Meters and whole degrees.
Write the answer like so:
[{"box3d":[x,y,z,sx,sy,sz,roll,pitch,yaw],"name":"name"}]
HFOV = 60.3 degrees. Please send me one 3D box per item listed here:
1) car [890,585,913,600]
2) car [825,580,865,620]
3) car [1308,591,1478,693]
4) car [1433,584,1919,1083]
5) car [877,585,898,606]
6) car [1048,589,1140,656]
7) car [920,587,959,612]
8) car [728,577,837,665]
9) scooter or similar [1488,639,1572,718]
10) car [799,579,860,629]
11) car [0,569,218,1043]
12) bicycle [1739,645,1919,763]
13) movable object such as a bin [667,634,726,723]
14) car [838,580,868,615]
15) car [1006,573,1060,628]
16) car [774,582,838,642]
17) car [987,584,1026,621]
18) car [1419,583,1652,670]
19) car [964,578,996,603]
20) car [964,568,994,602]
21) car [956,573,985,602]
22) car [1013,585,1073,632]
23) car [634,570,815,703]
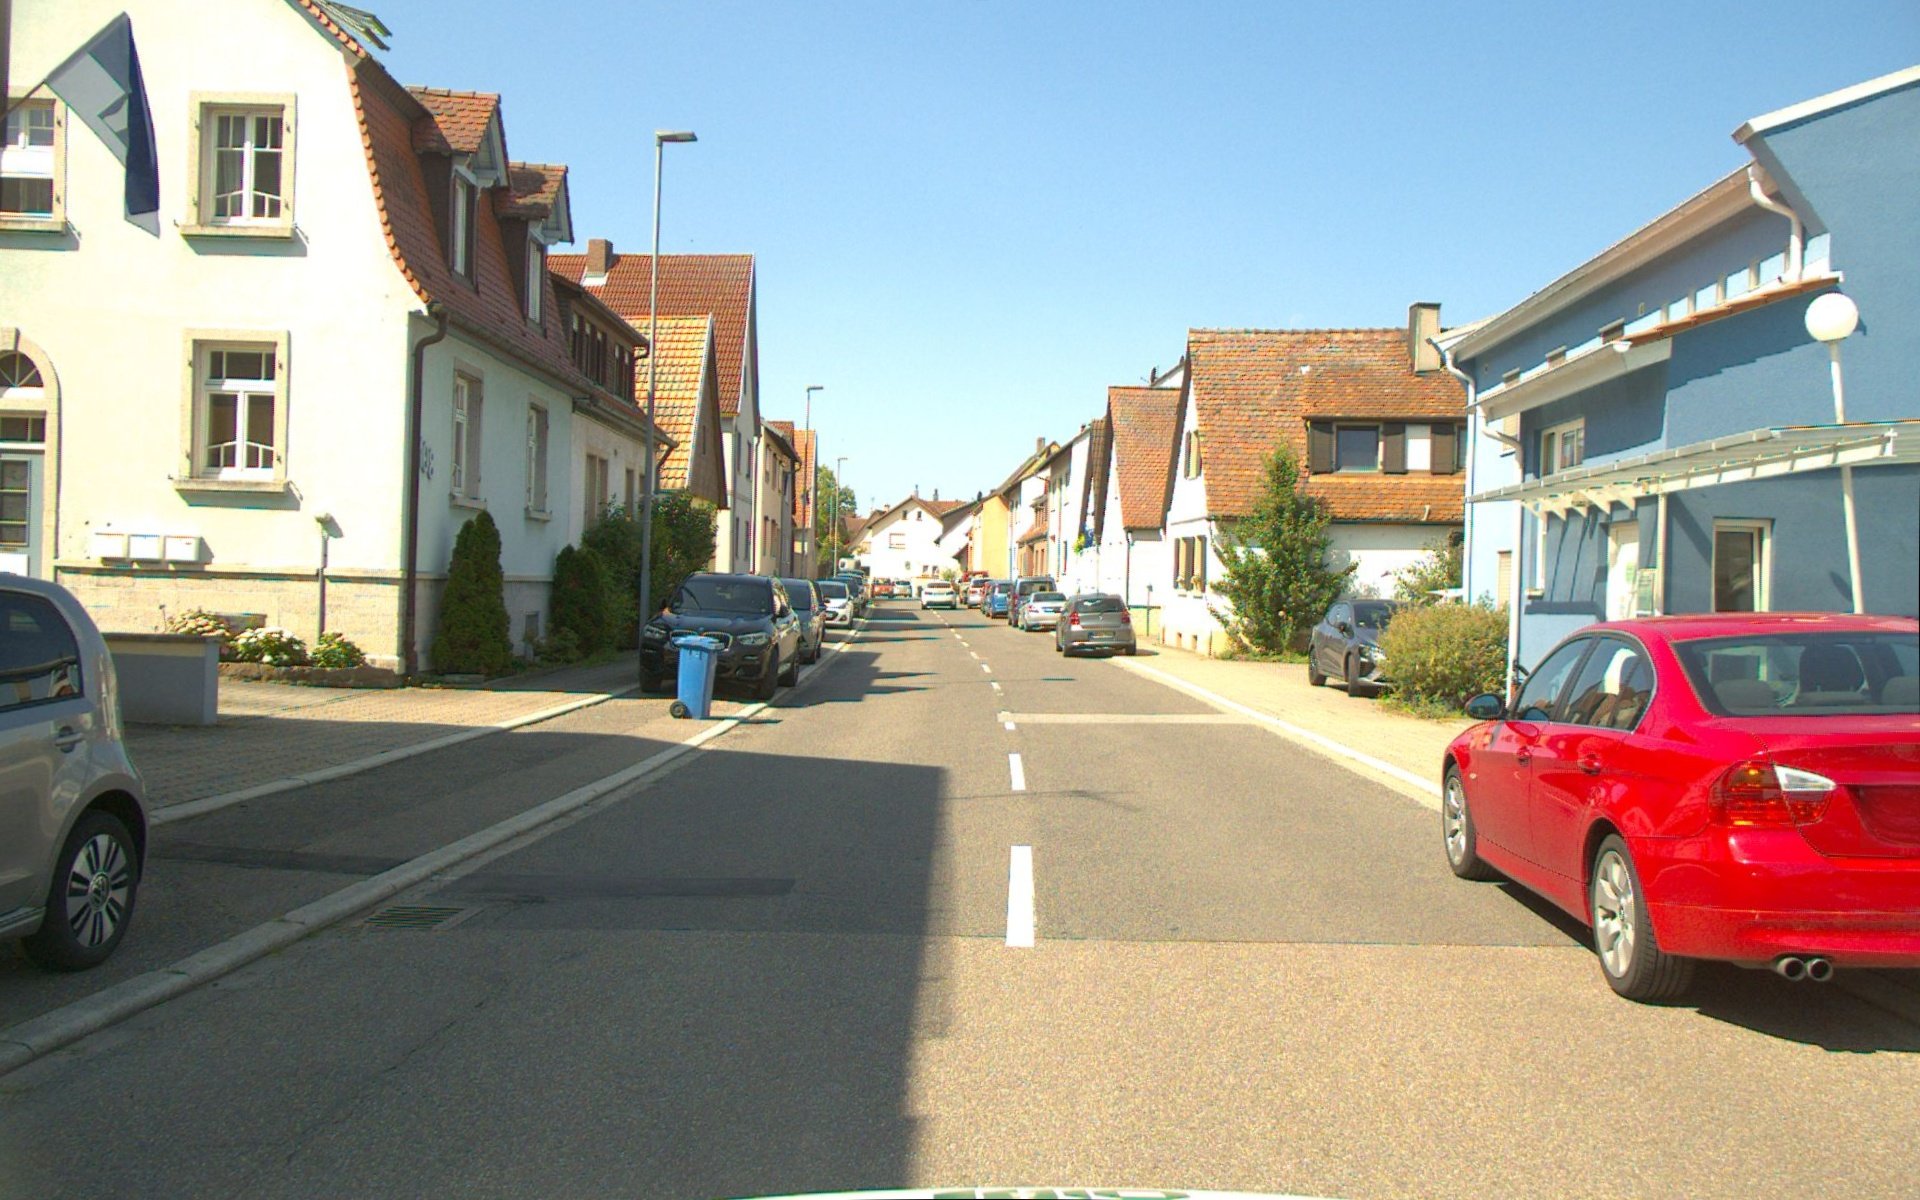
[{"box3d":[-5.001,-0.642,142.095,1.953,1.310,3.802,0,0,-2],"name":"car"},{"box3d":[-4.783,-0.006,69.197,1.587,1.605,3.959,1,0,-3],"name":"car"},{"box3d":[6.634,0.590,25.759,1.655,1.445,4.146,1,0,2],"name":"car"},{"box3d":[3.421,0.722,7.354,1.696,1.520,4.357,-2,1,5],"name":"car"},{"box3d":[-5.413,-0.366,123.439,1.569,1.515,3.624,1,0,-3],"name":"car"},{"box3d":[3.135,0.499,39.351,1.670,1.458,3.887,1,0,-3],"name":"car"},{"box3d":[-1.110,-0.029,88.017,1.953,1.310,3.998,0,0,-2],"name":"car"},{"box3d":[-3.609,0.387,34.366,1.835,1.665,4.663,1,0,-1],"name":"car"},{"box3d":[6.344,0.867,18.436,0.712,0.829,0.828,0,0,6],"name":"scooter or similar"},{"box3d":[-4.348,0.104,55.564,1.769,1.575,4.403,1,0,-1],"name":"car"},{"box3d":[-3.956,0.649,4.843,1.606,1.527,3.783,3,0,3],"name":"car"},{"box3d":[8.125,0.923,14.875,1.913,0.998,0.657,-1,0,3],"name":"bicycle"},{"box3d":[-3.071,0.912,19.317,0.584,0.999,0.531,1,0,0],"name":"movable object such as a bin"},{"box3d":[-5.505,-0.126,85.318,1.497,1.743,3.624,1,0,-3],"name":"car"},{"box3d":[2.664,-0.007,60.717,1.616,1.943,3.624,1,0,-3],"name":"car"},{"box3d":[-4.237,0.312,45.756,1.521,1.571,2.987,1,0,-1],"name":"car"},{"box3d":[2.001,0.085,71.957,1.392,1.541,3.302,1,0,-3],"name":"car"},{"box3d":[11.475,0.514,33.200,4.087,1.686,1.813,0,0,4],"name":"car"},{"box3d":[1.154,-0.546,97.864,1.731,1.458,3.449,0,0,-1],"name":"car"},{"box3d":[1.153,-0.920,102.653,1.731,2.039,3.449,0,0,-1],"name":"car"},{"box3d":[0.550,-0.683,89.474,1.392,1.541,3.302,1,0,-3],"name":"car"},{"box3d":[2.783,0.272,55.942,1.670,1.523,3.450,1,0,-3],"name":"car"},{"box3d":[-3.319,0.474,24.216,1.881,1.697,4.666,2,0,1],"name":"car"}]
